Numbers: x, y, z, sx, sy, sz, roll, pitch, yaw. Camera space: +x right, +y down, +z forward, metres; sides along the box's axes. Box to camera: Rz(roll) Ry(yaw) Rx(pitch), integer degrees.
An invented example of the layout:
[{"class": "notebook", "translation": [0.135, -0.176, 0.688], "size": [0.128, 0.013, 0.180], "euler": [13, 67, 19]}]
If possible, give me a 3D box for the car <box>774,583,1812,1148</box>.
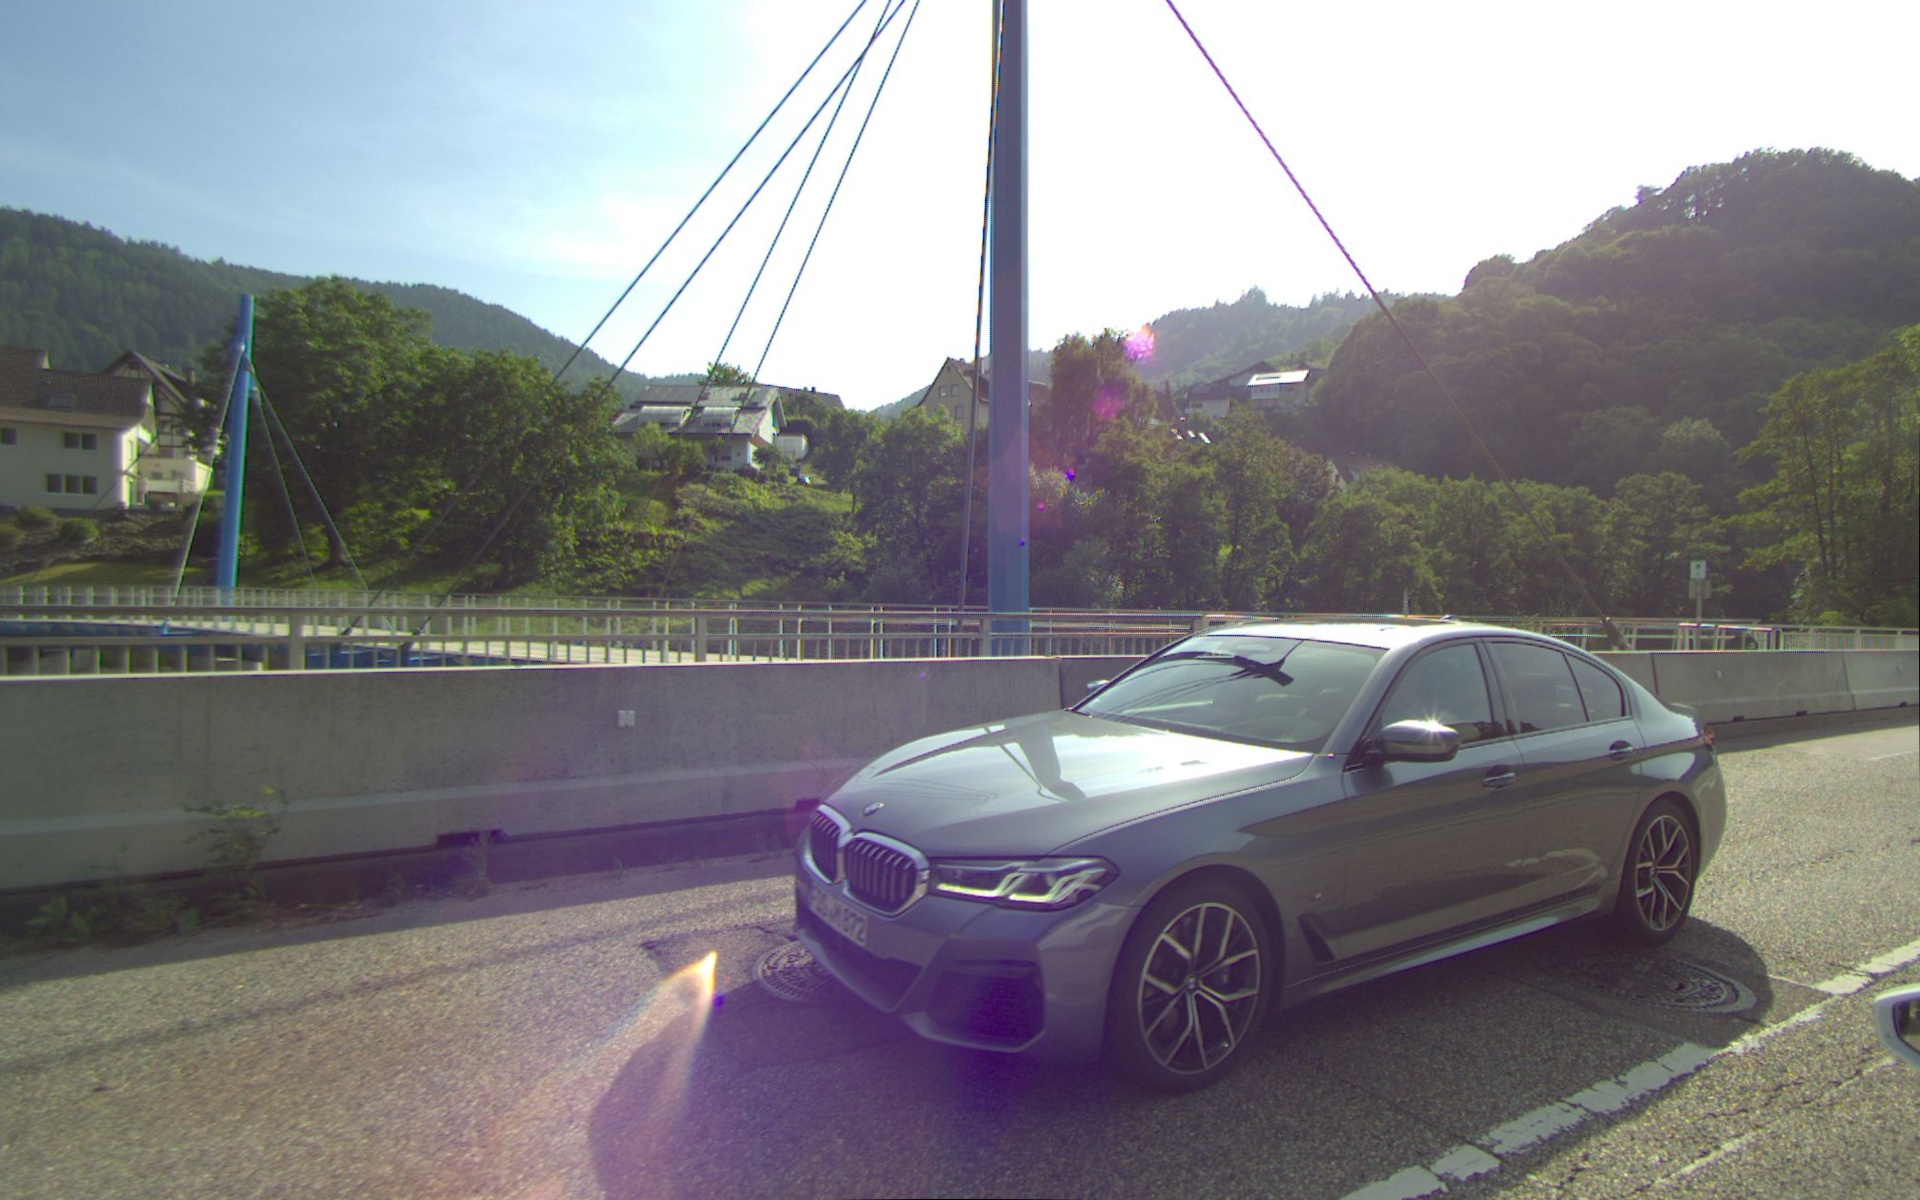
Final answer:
[{"class": "car", "translation": [1.777, 0.766, 4.711], "size": [4.877, 1.516, 1.828], "euler": [2, 0, -30]}]
